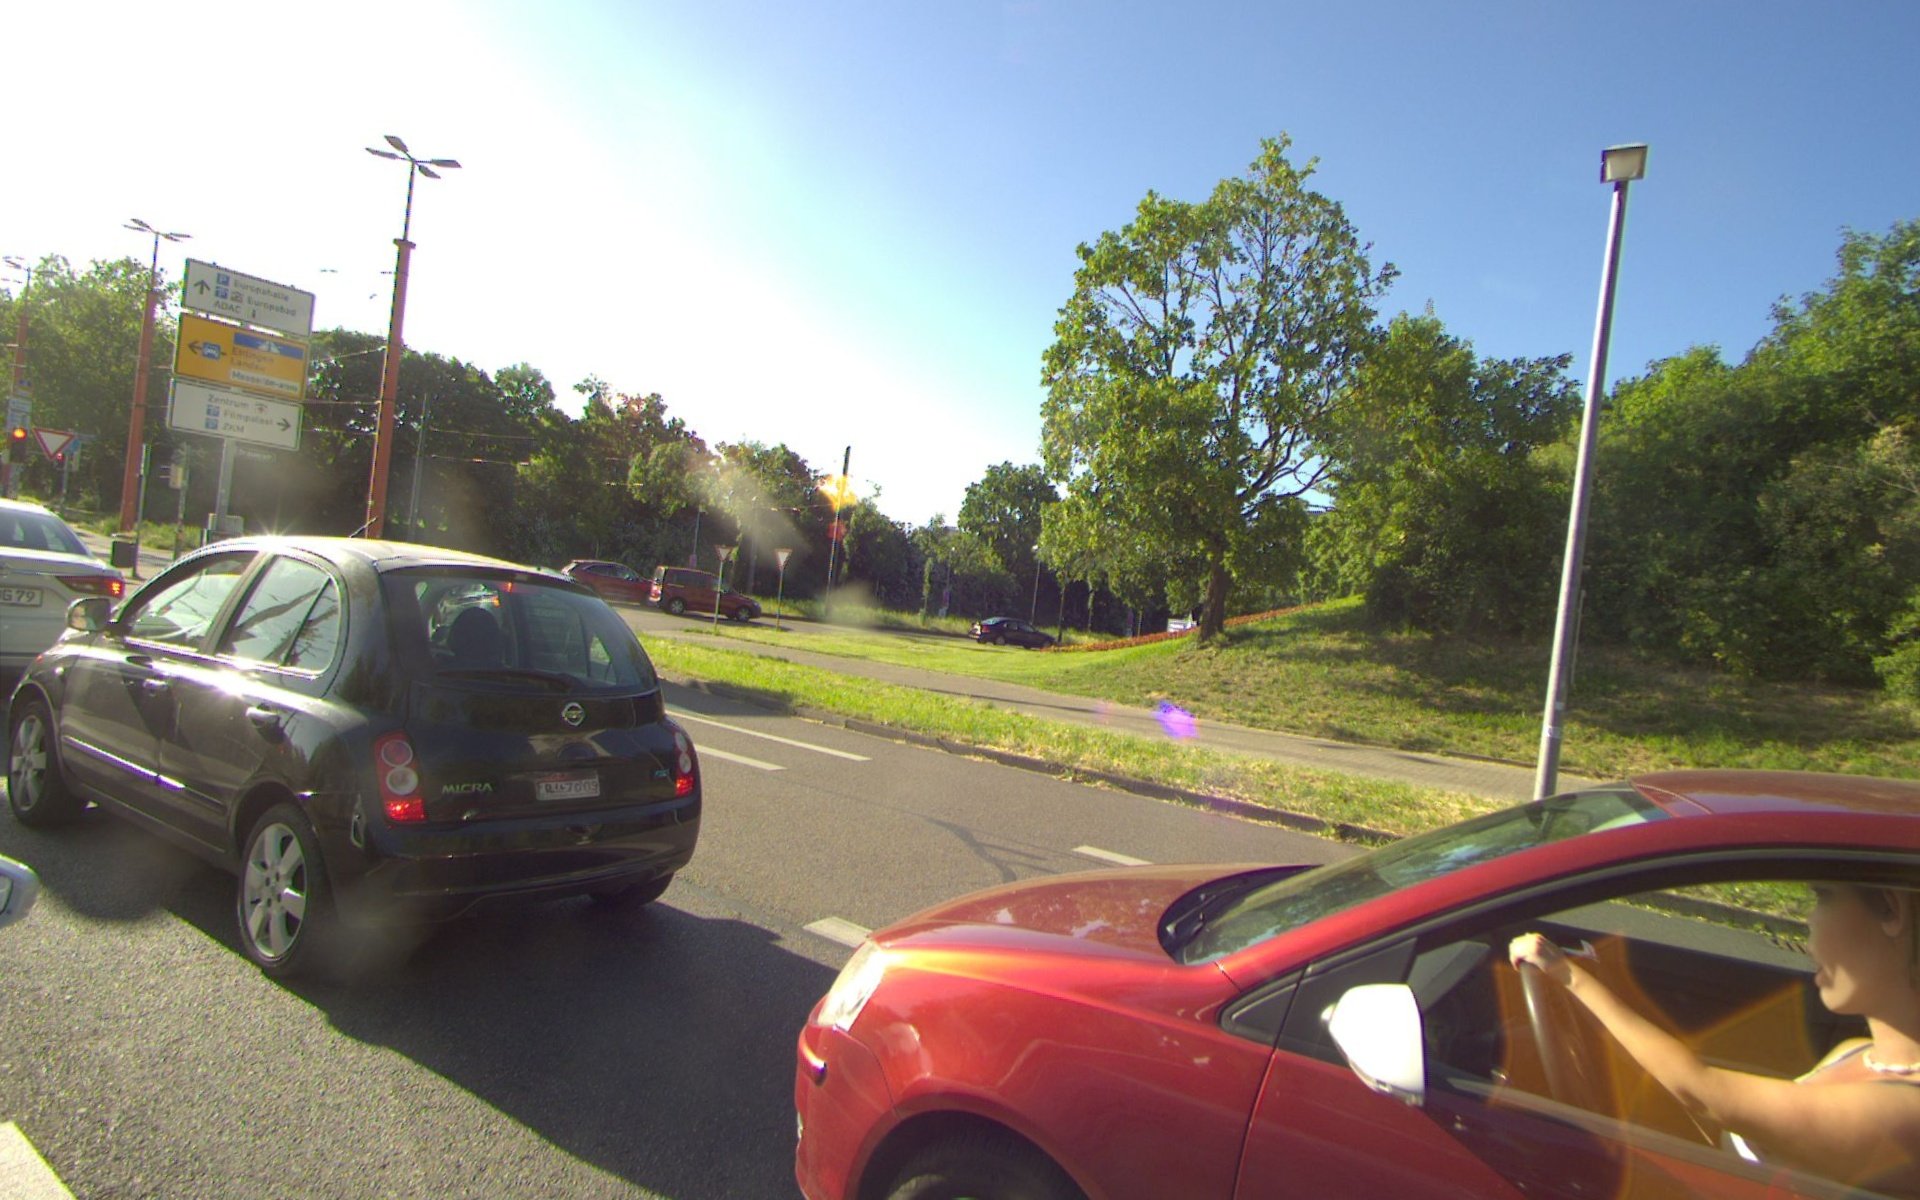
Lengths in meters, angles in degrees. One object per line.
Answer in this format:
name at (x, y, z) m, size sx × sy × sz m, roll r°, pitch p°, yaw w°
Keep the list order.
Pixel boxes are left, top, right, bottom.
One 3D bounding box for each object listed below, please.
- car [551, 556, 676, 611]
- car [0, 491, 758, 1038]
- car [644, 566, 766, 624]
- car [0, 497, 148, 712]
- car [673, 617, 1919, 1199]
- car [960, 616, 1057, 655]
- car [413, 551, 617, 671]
car at (-14.426, -0.680, 41.923) m, size 4.517 × 1.688 × 1.828 m, roll 8°, pitch -1°, yaw -30°
car at (-2.824, 0.464, 4.625) m, size 3.457 × 1.524 × 1.558 m, roll 7°, pitch 0°, yaw 32°
car at (-10.271, -0.202, 40.651) m, size 4.313 × 1.753 × 1.828 m, roll 8°, pitch -1°, yaw -31°
car at (-8.350, -0.163, 7.978) m, size 4.077 × 1.472 × 1.717 m, roll 7°, pitch -1°, yaw 33°
car at (1.368, 0.990, 1.894) m, size 3.634 × 1.434 × 1.624 m, roll 7°, pitch -1°, yaw 34°
car at (2.341, 1.715, 48.196) m, size 4.271 × 1.343 × 1.748 m, roll 8°, pitch -1°, yaw -29°
car at (-7.337, 0.131, 16.414) m, size 1.741 × 1.487 × 3.844 m, roll 7°, pitch -1°, yaw -44°
